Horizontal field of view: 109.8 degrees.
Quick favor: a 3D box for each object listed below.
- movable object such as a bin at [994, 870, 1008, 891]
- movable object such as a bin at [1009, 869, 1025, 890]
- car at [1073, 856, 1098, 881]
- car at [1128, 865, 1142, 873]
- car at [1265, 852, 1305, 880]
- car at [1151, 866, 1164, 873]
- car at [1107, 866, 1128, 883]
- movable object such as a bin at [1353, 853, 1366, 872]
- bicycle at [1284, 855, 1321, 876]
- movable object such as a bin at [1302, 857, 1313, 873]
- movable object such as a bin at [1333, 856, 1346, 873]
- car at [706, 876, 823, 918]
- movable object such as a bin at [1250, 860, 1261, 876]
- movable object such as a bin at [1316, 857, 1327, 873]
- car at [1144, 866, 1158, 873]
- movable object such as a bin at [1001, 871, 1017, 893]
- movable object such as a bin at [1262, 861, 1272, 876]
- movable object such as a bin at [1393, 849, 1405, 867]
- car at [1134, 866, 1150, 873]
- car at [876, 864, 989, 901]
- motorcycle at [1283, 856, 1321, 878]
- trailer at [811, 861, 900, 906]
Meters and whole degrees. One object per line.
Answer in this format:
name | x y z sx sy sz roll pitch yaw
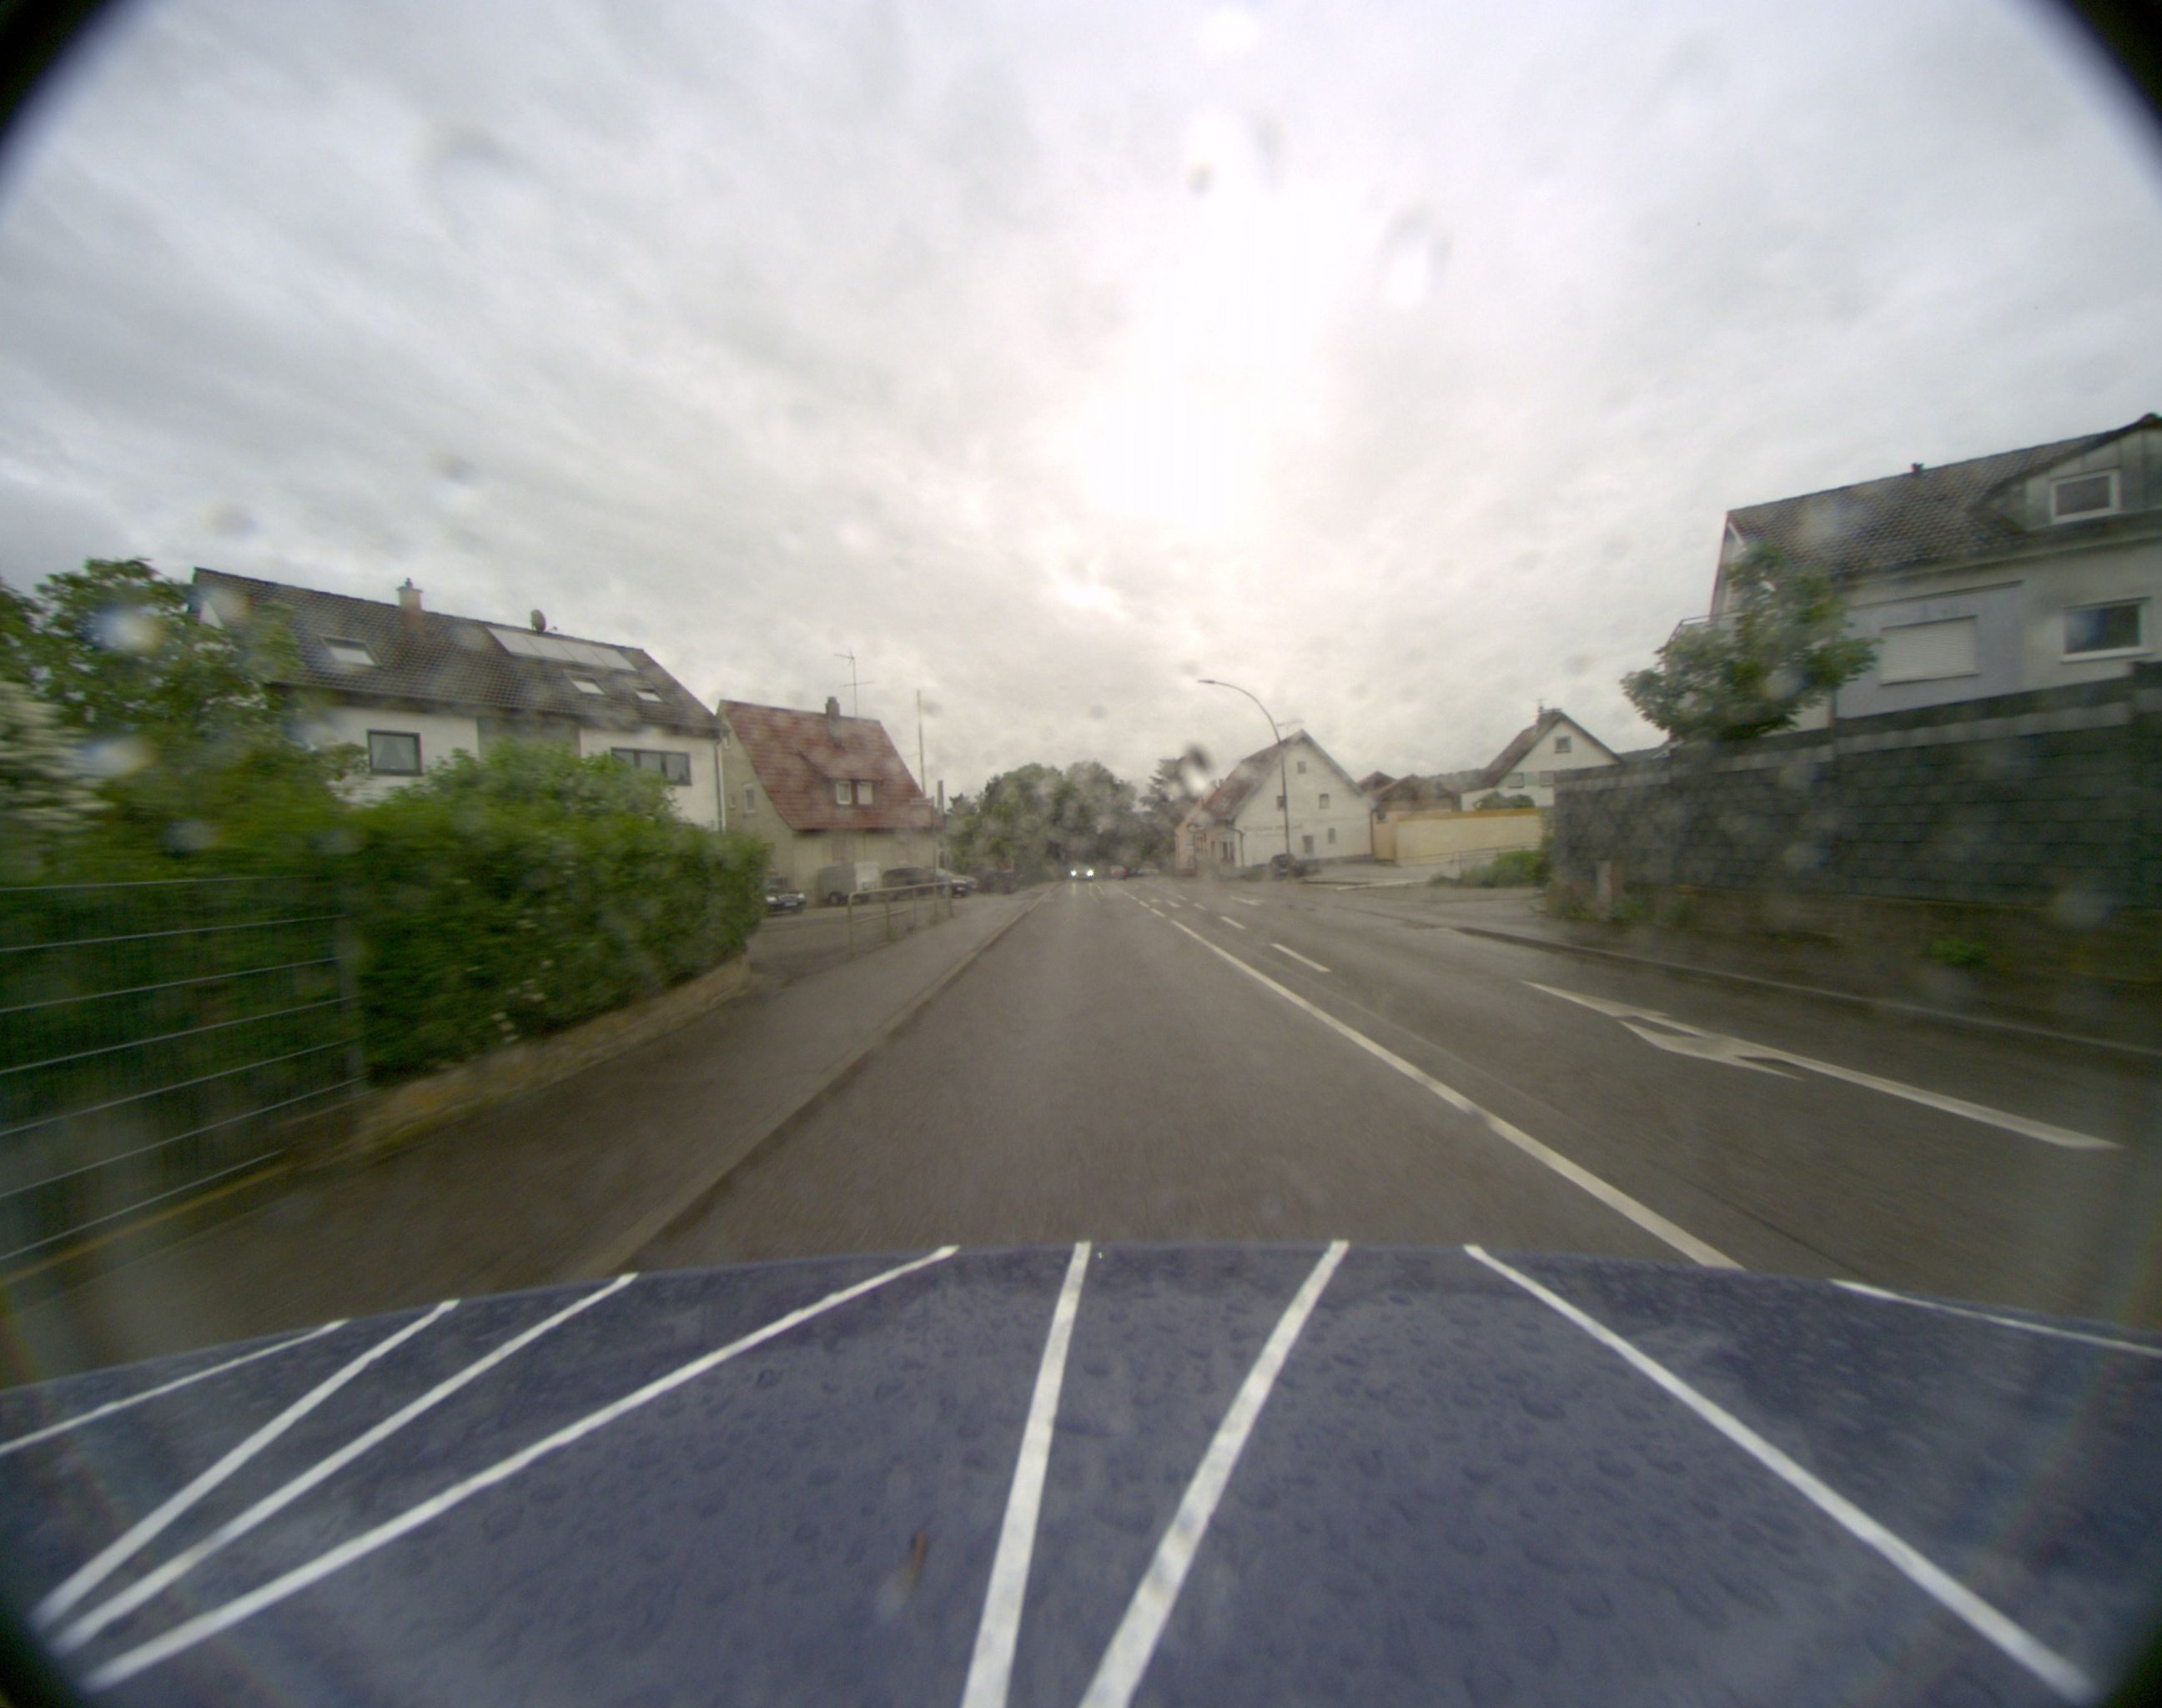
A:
movable object such as a bin | -3.908 1.287 37.067 0.443 1.015 0.525 -1 0 24
movable object such as a bin | -3.132 1.228 37.187 0.530 1.015 0.734 -1 0 20
car | 0.398 1.231 65.765 1.998 2.002 4.001 -2 0 2
car | 10.139 2.870 142.452 1.791 1.523 3.806 -1 -1 20
car | 11.937 0.677 44.376 1.904 1.433 3.834 -4 -2 19
car | 15.914 3.186 157.962 1.761 1.410 4.160 0 -2 19
car | 3.643 2.058 75.703 1.948 1.564 4.227 -1 -1 1
movable object such as a bin | 17.605 0.523 48.054 0.639 1.123 0.605 -7 -2 14
bicycle | 13.765 0.743 47.280 2.100 1.107 0.738 -5 1 17
movable object such as a bin | 14.621 0.735 49.119 0.639 1.026 0.605 -1 0 14
movable object such as a bin | 16.473 0.663 48.376 0.639 1.026 0.605 -6 -1 13
car | -11.442 1.558 27.372 4.389 1.315 1.789 -3 0 35
movable object such as a bin | 11.465 0.942 49.904 0.639 1.026 0.674 -1 0 14
movable object such as a bin | 15.461 0.690 48.849 0.639 1.026 0.605 -1 0 14
car | 14.025 3.111 152.961 1.761 1.410 4.160 -1 -1 21
movable object such as a bin | -3.363 1.316 35.669 0.628 1.015 0.541 -1 0 6
movable object such as a bin | 12.178 0.950 49.689 0.639 1.026 0.605 -1 0 14
movable object such as a bin | 19.286 0.236 46.029 0.670 1.072 0.625 -1 0 23
car | 11.887 3.015 147.555 1.995 1.410 4.492 -1 -1 20
car | -6.710 1.286 34.460 4.563 1.375 2.003 -4 -1 17
motorcycle | 13.542 0.783 46.554 2.113 1.107 0.781 -6 0 17
trailer | -9.828 1.276 33.154 3.454 1.788 1.691 -3 1 29
